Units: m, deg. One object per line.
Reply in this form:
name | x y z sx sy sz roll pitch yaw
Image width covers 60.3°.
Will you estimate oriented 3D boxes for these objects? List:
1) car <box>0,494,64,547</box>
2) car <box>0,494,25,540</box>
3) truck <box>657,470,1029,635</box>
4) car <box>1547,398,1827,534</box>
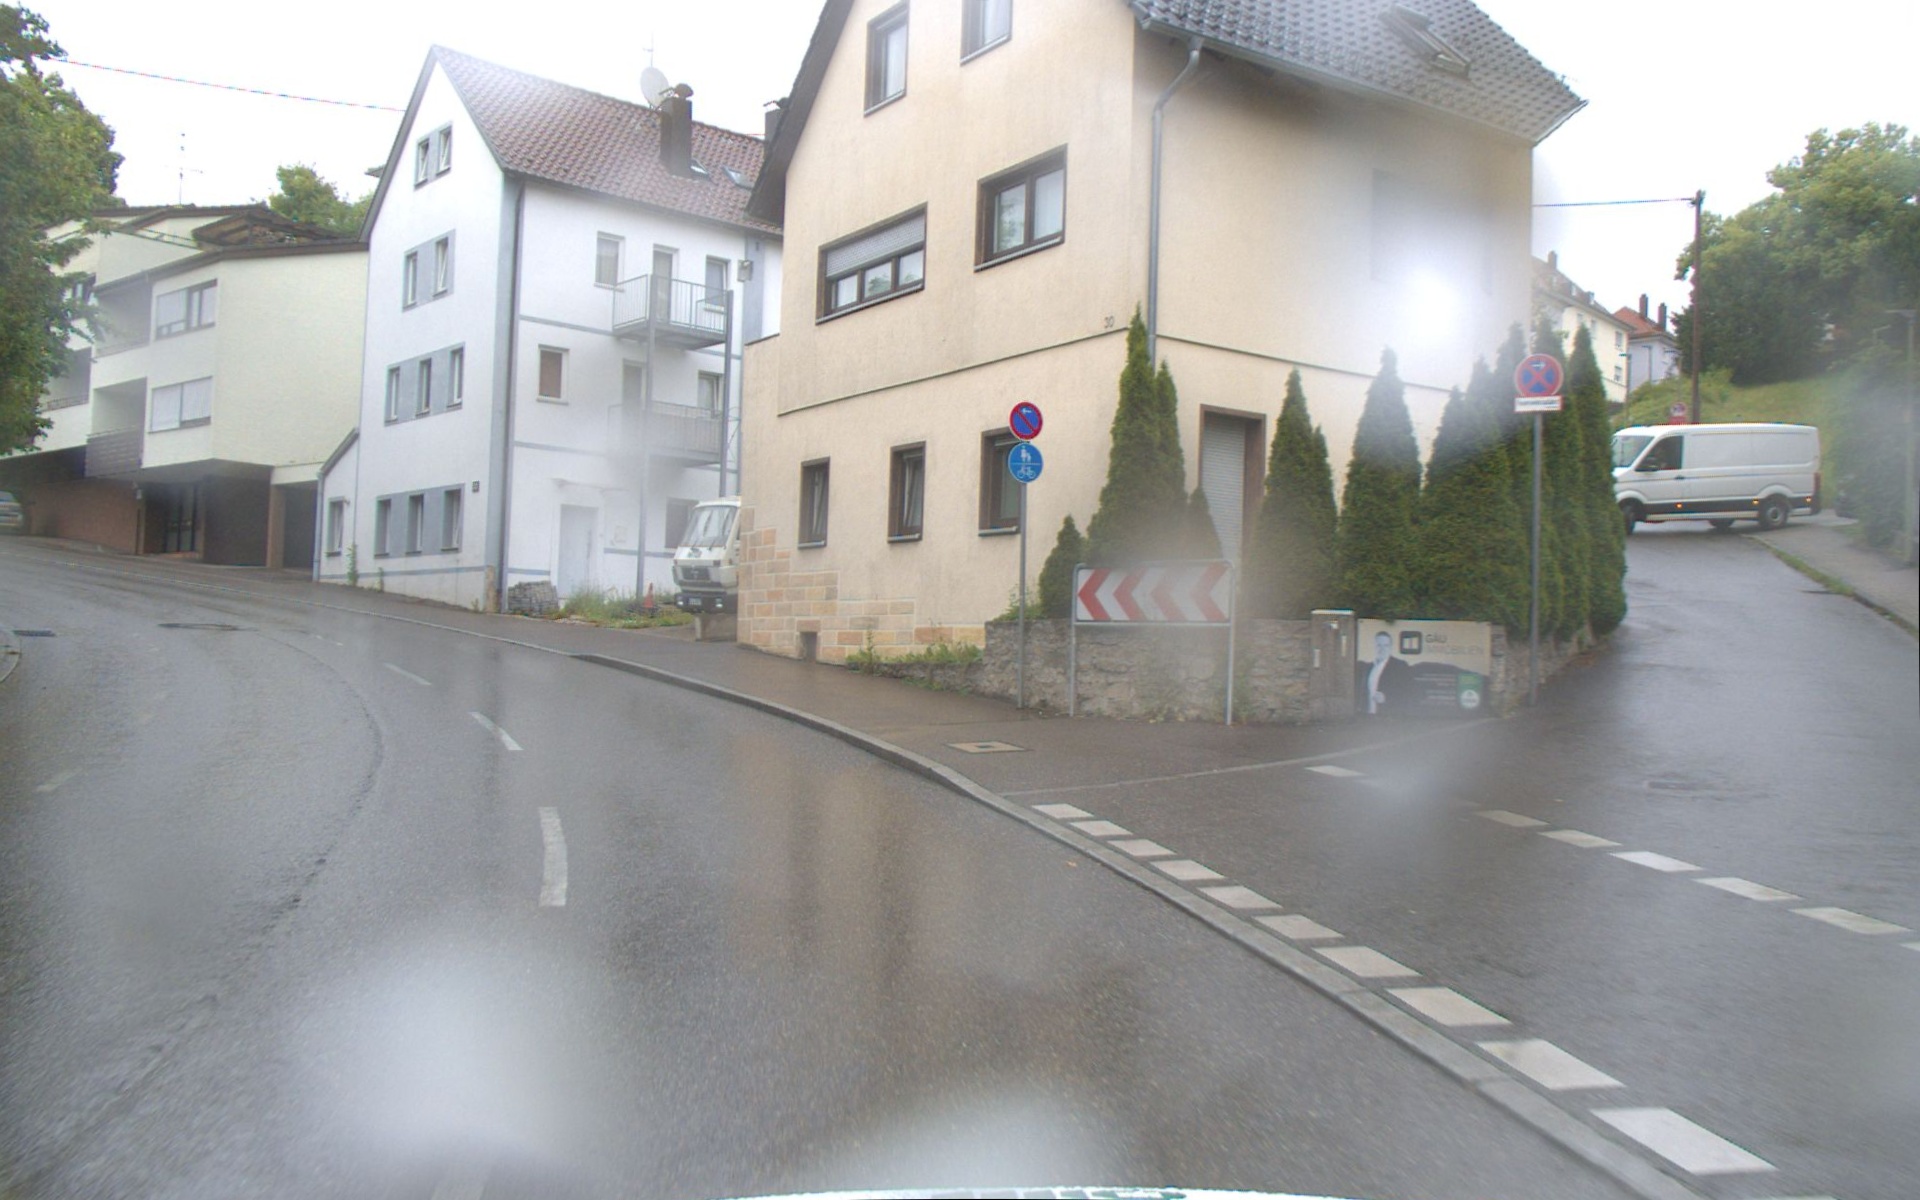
car | -32.168 -2.746 56.631 1.755 1.605 4.046 7 0 -19
car | -34.609 -3.024 58.152 1.752 1.605 4.053 7 0 -13
truck | -2.047 -0.967 30.831 6.906 2.749 2.113 -2 5 -37
car | 16.192 -2.926 36.898 5.588 2.697 1.994 1 0 -12
